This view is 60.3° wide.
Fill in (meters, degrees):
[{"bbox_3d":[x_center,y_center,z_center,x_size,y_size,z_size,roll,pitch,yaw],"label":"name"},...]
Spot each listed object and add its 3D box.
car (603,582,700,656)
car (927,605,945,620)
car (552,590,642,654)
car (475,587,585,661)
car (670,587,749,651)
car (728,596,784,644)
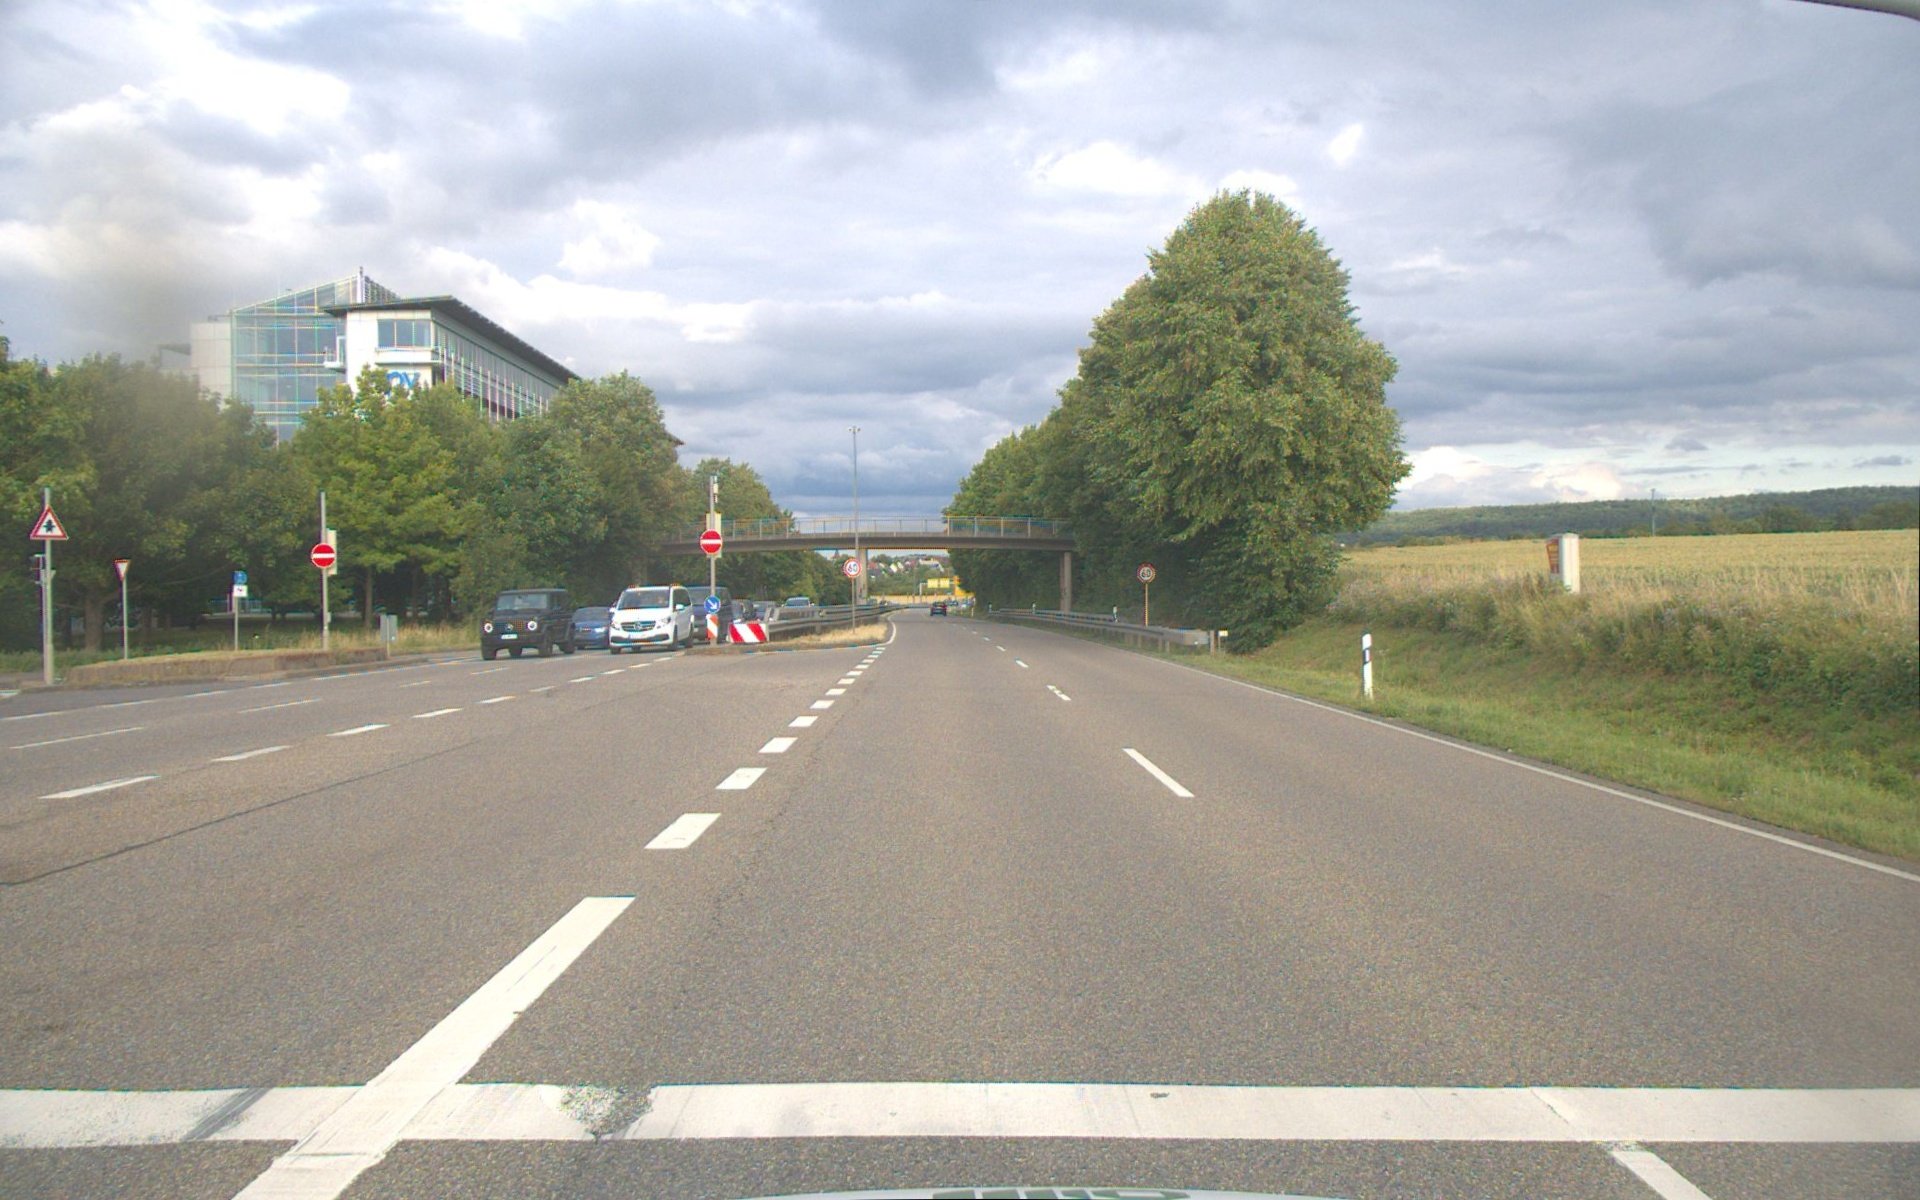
[{"bbox_3d":[-9.106,0.546,49.213,2.041,2.049,5.214,1,0,-2],"label":"car"},{"bbox_3d":[-2.668,1.388,183.091,1.842,1.579,3.997,1,0,-3],"label":"car"},{"bbox_3d":[-12.331,0.732,56.552,2.041,2.049,5.214,1,0,-2],"label":"car"},{"bbox_3d":[-12.666,0.685,49.047,2.041,2.049,5.214,1,0,-2],"label":"car"},{"bbox_3d":[-8.566,0.642,56.957,2.041,2.049,5.214,1,0,-2],"label":"car"},{"bbox_3d":[-9.253,0.896,75.490,2.041,2.049,5.214,1,0,-2],"label":"car"}]
